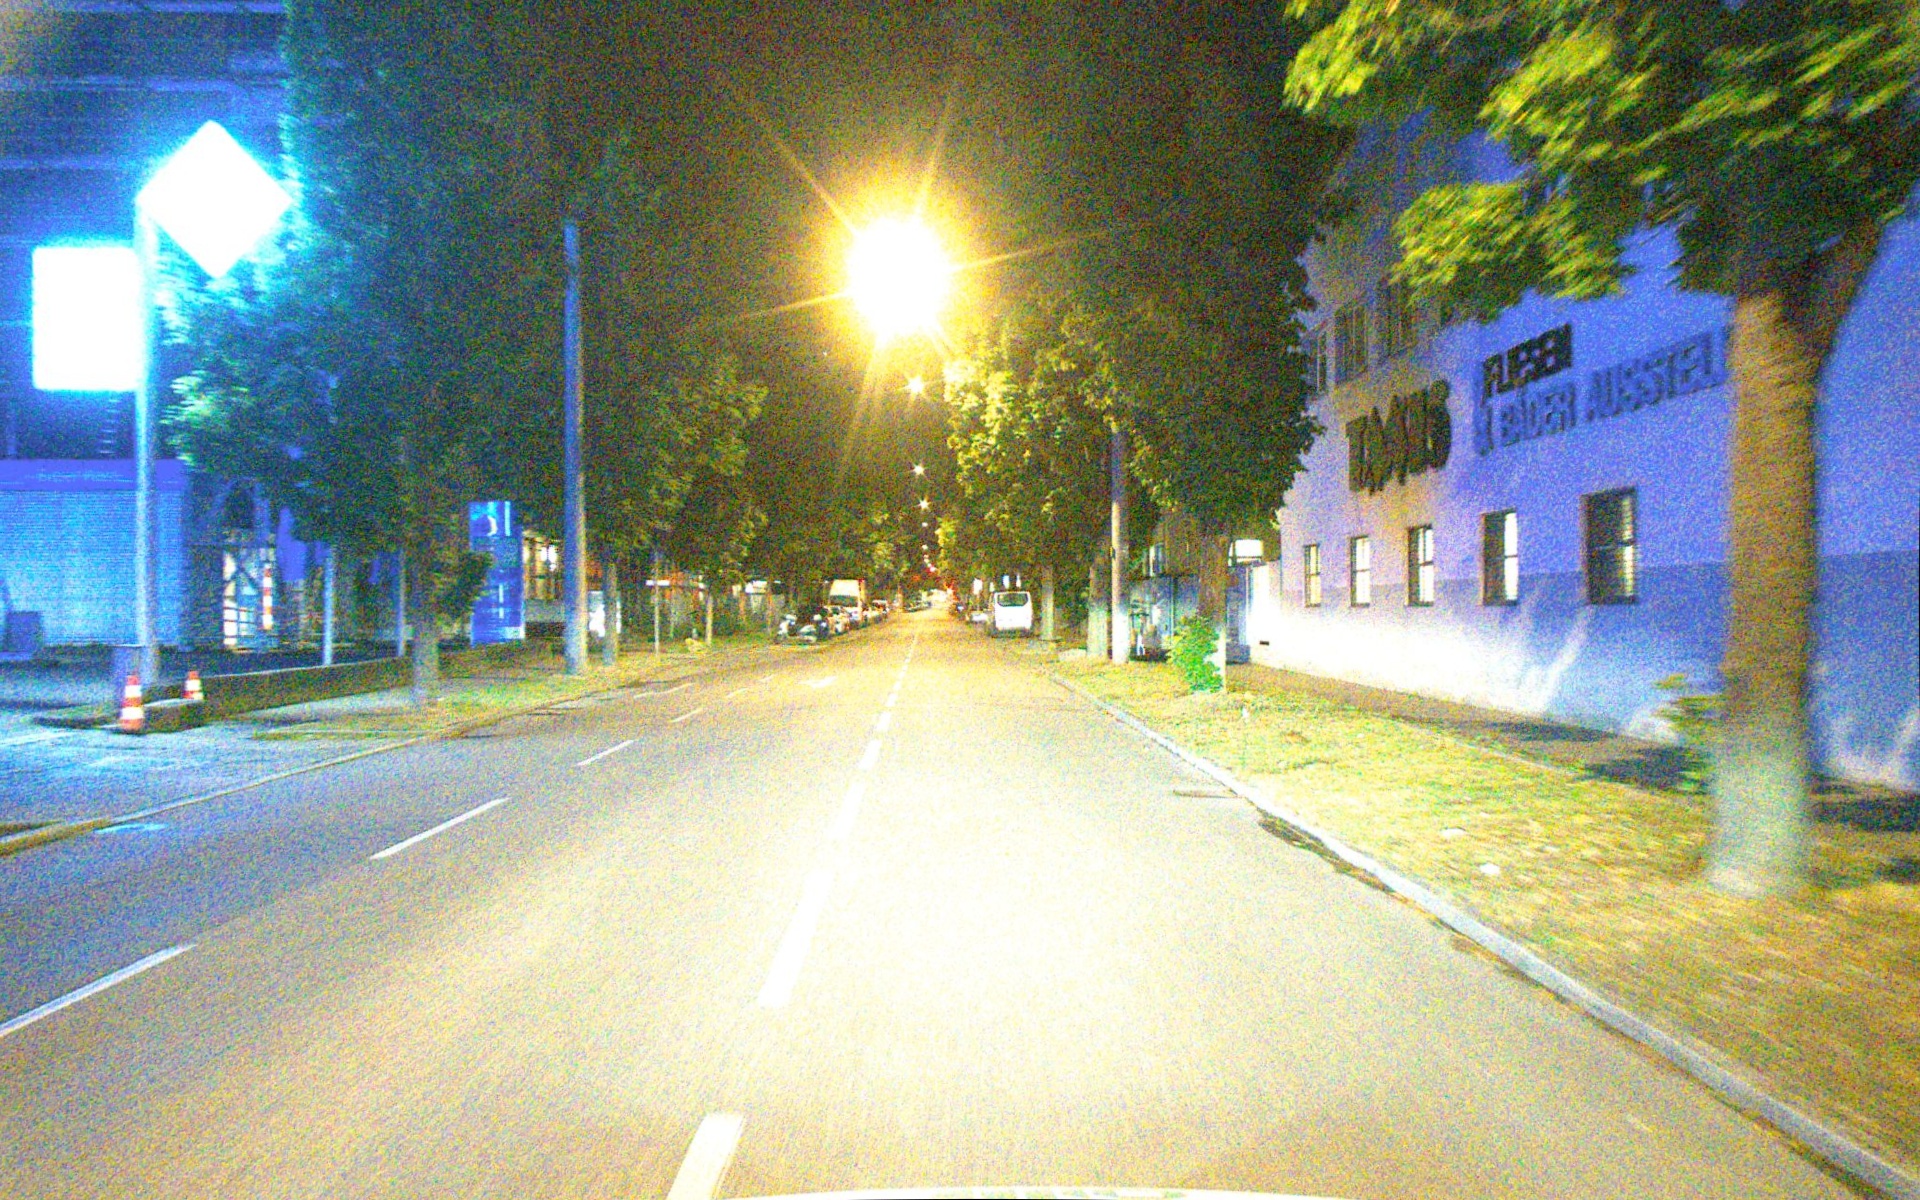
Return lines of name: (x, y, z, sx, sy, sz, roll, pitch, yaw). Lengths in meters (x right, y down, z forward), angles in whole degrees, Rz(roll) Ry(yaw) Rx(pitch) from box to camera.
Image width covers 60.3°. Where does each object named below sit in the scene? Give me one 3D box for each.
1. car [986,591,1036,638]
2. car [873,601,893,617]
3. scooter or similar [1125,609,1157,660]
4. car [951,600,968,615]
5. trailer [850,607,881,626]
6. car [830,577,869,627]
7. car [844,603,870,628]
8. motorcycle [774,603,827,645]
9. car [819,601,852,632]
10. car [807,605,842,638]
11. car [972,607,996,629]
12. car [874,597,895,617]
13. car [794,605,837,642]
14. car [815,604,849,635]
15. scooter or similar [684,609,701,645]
car: (2.254, 0.637, 74.548, 1.911, 1.998, 4.601, 0, 0, -2)
car: (-7.692, 0.923, 165.777, 1.665, 1.458, 3.828, 3, 0, 0)
scooter or similar: (4.550, 0.870, 41.750, 0.536, 1.224, 1.910, 2, -1, -1)
car: (-0.070, 0.869, 187.655, 1.815, 1.683, 4.208, 0, 0, 0)
trailer: (-7.395, 1.263, 129.853, 2.067, 1.358, 5.434, 2, 0, 0)
car: (-6.704, 0.125, 100.460, 2.135, 2.960, 4.908, 1, 0, -2)
car: (-6.901, 1.041, 111.246, 1.707, 1.634, 4.295, 1, 0, -3)
motorcycle: (-6.090, 0.918, 63.130, 1.874, 1.577, 0.635, 2, -1, -21)
car: (-6.616, 0.873, 88.199, 1.612, 1.531, 3.859, 2, 0, -3)
car: (-6.407, 0.982, 78.433, 1.415, 1.454, 3.902, 2, 0, -2)
car: (1.714, 1.232, 116.648, 1.634, 1.454, 4.148, -2, 0, 1)
car: (-7.778, 0.720, 170.513, 1.785, 1.843, 4.210, 3, 0, 0)
car: (-6.306, 1.012, 72.535, 1.609, 1.531, 3.902, 2, 0, -2)
car: (-6.459, 0.971, 83.439, 1.516, 1.481, 3.367, 2, 0, -2)
scooter or similar: (-9.281, 0.932, 57.391, 0.359, 1.225, 1.427, -1, -1, -1)
